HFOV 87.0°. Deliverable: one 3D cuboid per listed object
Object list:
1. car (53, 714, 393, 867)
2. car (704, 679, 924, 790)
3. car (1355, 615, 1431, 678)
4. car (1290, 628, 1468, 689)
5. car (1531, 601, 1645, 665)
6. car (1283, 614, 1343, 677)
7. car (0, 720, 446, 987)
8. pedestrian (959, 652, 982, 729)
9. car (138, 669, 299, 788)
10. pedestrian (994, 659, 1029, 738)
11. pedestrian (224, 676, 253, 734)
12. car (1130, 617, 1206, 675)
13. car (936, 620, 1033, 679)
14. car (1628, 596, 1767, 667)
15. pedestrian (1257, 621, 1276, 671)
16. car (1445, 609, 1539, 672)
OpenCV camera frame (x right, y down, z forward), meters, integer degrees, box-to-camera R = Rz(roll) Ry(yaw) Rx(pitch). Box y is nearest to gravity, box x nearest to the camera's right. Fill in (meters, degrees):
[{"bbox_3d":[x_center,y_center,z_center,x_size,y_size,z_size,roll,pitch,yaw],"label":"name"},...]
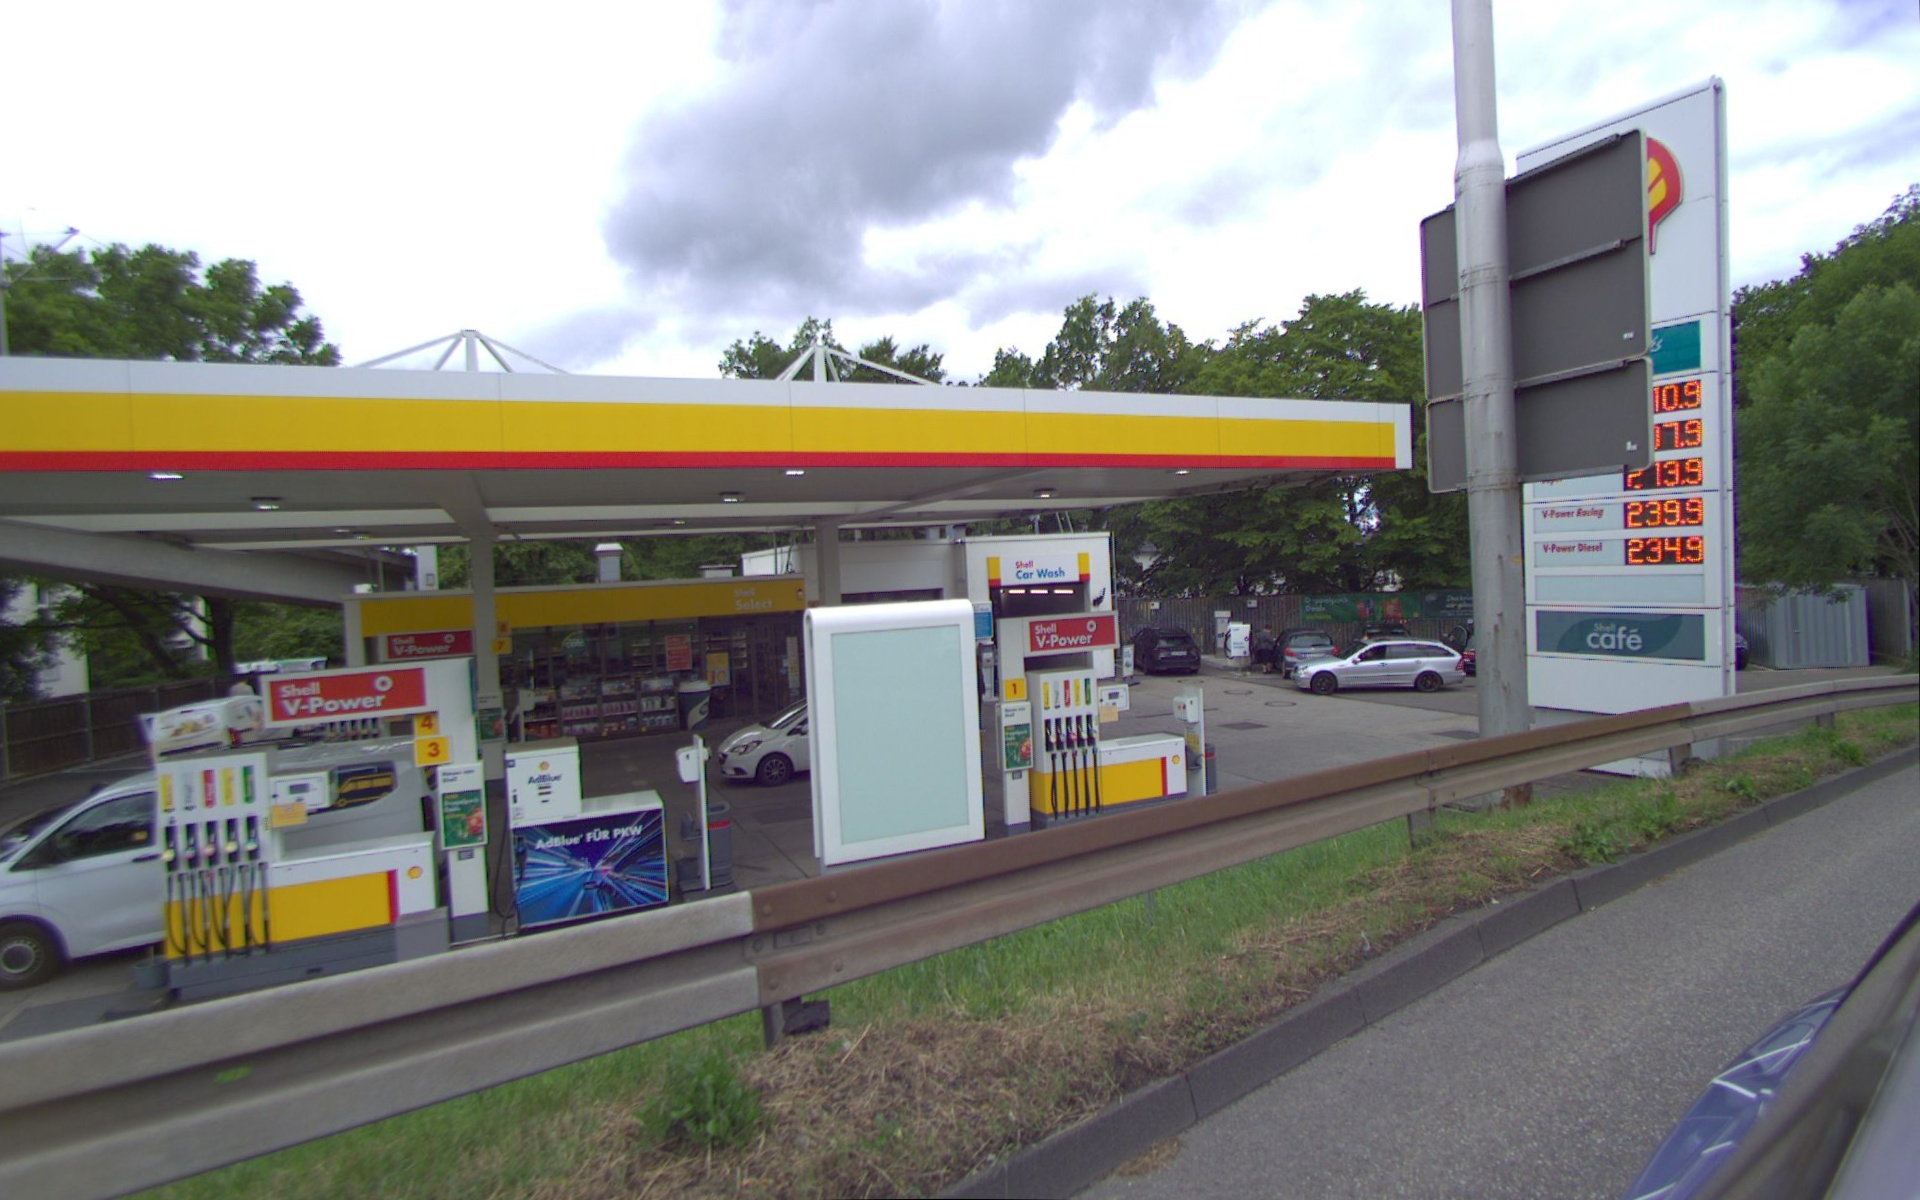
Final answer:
[{"bbox_3d":[-11.027,2.809,15.493,3.798,1.503,1.745,-4,3,-21],"label":"car"},{"bbox_3d":[-2.794,2.485,19.314,3.798,1.504,1.744,-4,1,-21],"label":"car"},{"bbox_3d":[13.333,1.376,31.343,1.711,1.453,4.197,-1,4,17],"label":"car"},{"bbox_3d":[11.390,1.592,27.739,4.225,1.449,1.597,-1,3,11],"label":"car"},{"bbox_3d":[18.603,0.922,30.189,1.711,1.444,4.274,-3,2,16],"label":"car"},{"bbox_3d":[11.017,1.374,31.744,1.606,1.538,4.080,-1,3,17],"label":"car"},{"bbox_3d":[-8.626,2.774,11.671,4.617,2.034,1.744,-4,3,-24],"label":"car"},{"bbox_3d":[0.238,2.087,23.535,0.423,1.726,0.494,0,0,-14],"label":"pedestrian"},{"bbox_3d":[-16.732,2.809,23.073,1.705,1.961,3.887,-3,3,-18],"label":"car"},{"bbox_3d":[1.180,2.247,23.241,0.597,1.726,0.544,0,0,-28],"label":"pedestrian"},{"bbox_3d":[-21.258,3.093,29.837,0.498,1.614,0.426,-2,2,-12],"label":"pedestrian"},{"bbox_3d":[6.827,1.468,33.566,1.691,1.453,4.108,-1,3,0],"label":"car"},{"bbox_3d":[0.732,1.552,33.132,1.705,1.503,3.886,-4,3,-22],"label":"car"},{"bbox_3d":[21.391,0.854,29.564,1.709,1.610,4.278,-3,2,14],"label":"car"},{"bbox_3d":[9.636,1.439,31.822,0.462,1.559,0.429,-3,-3,15],"label":"pedestrian"},{"bbox_3d":[16.219,1.199,31.054,1.711,1.453,4.272,-3,2,17],"label":"car"}]
